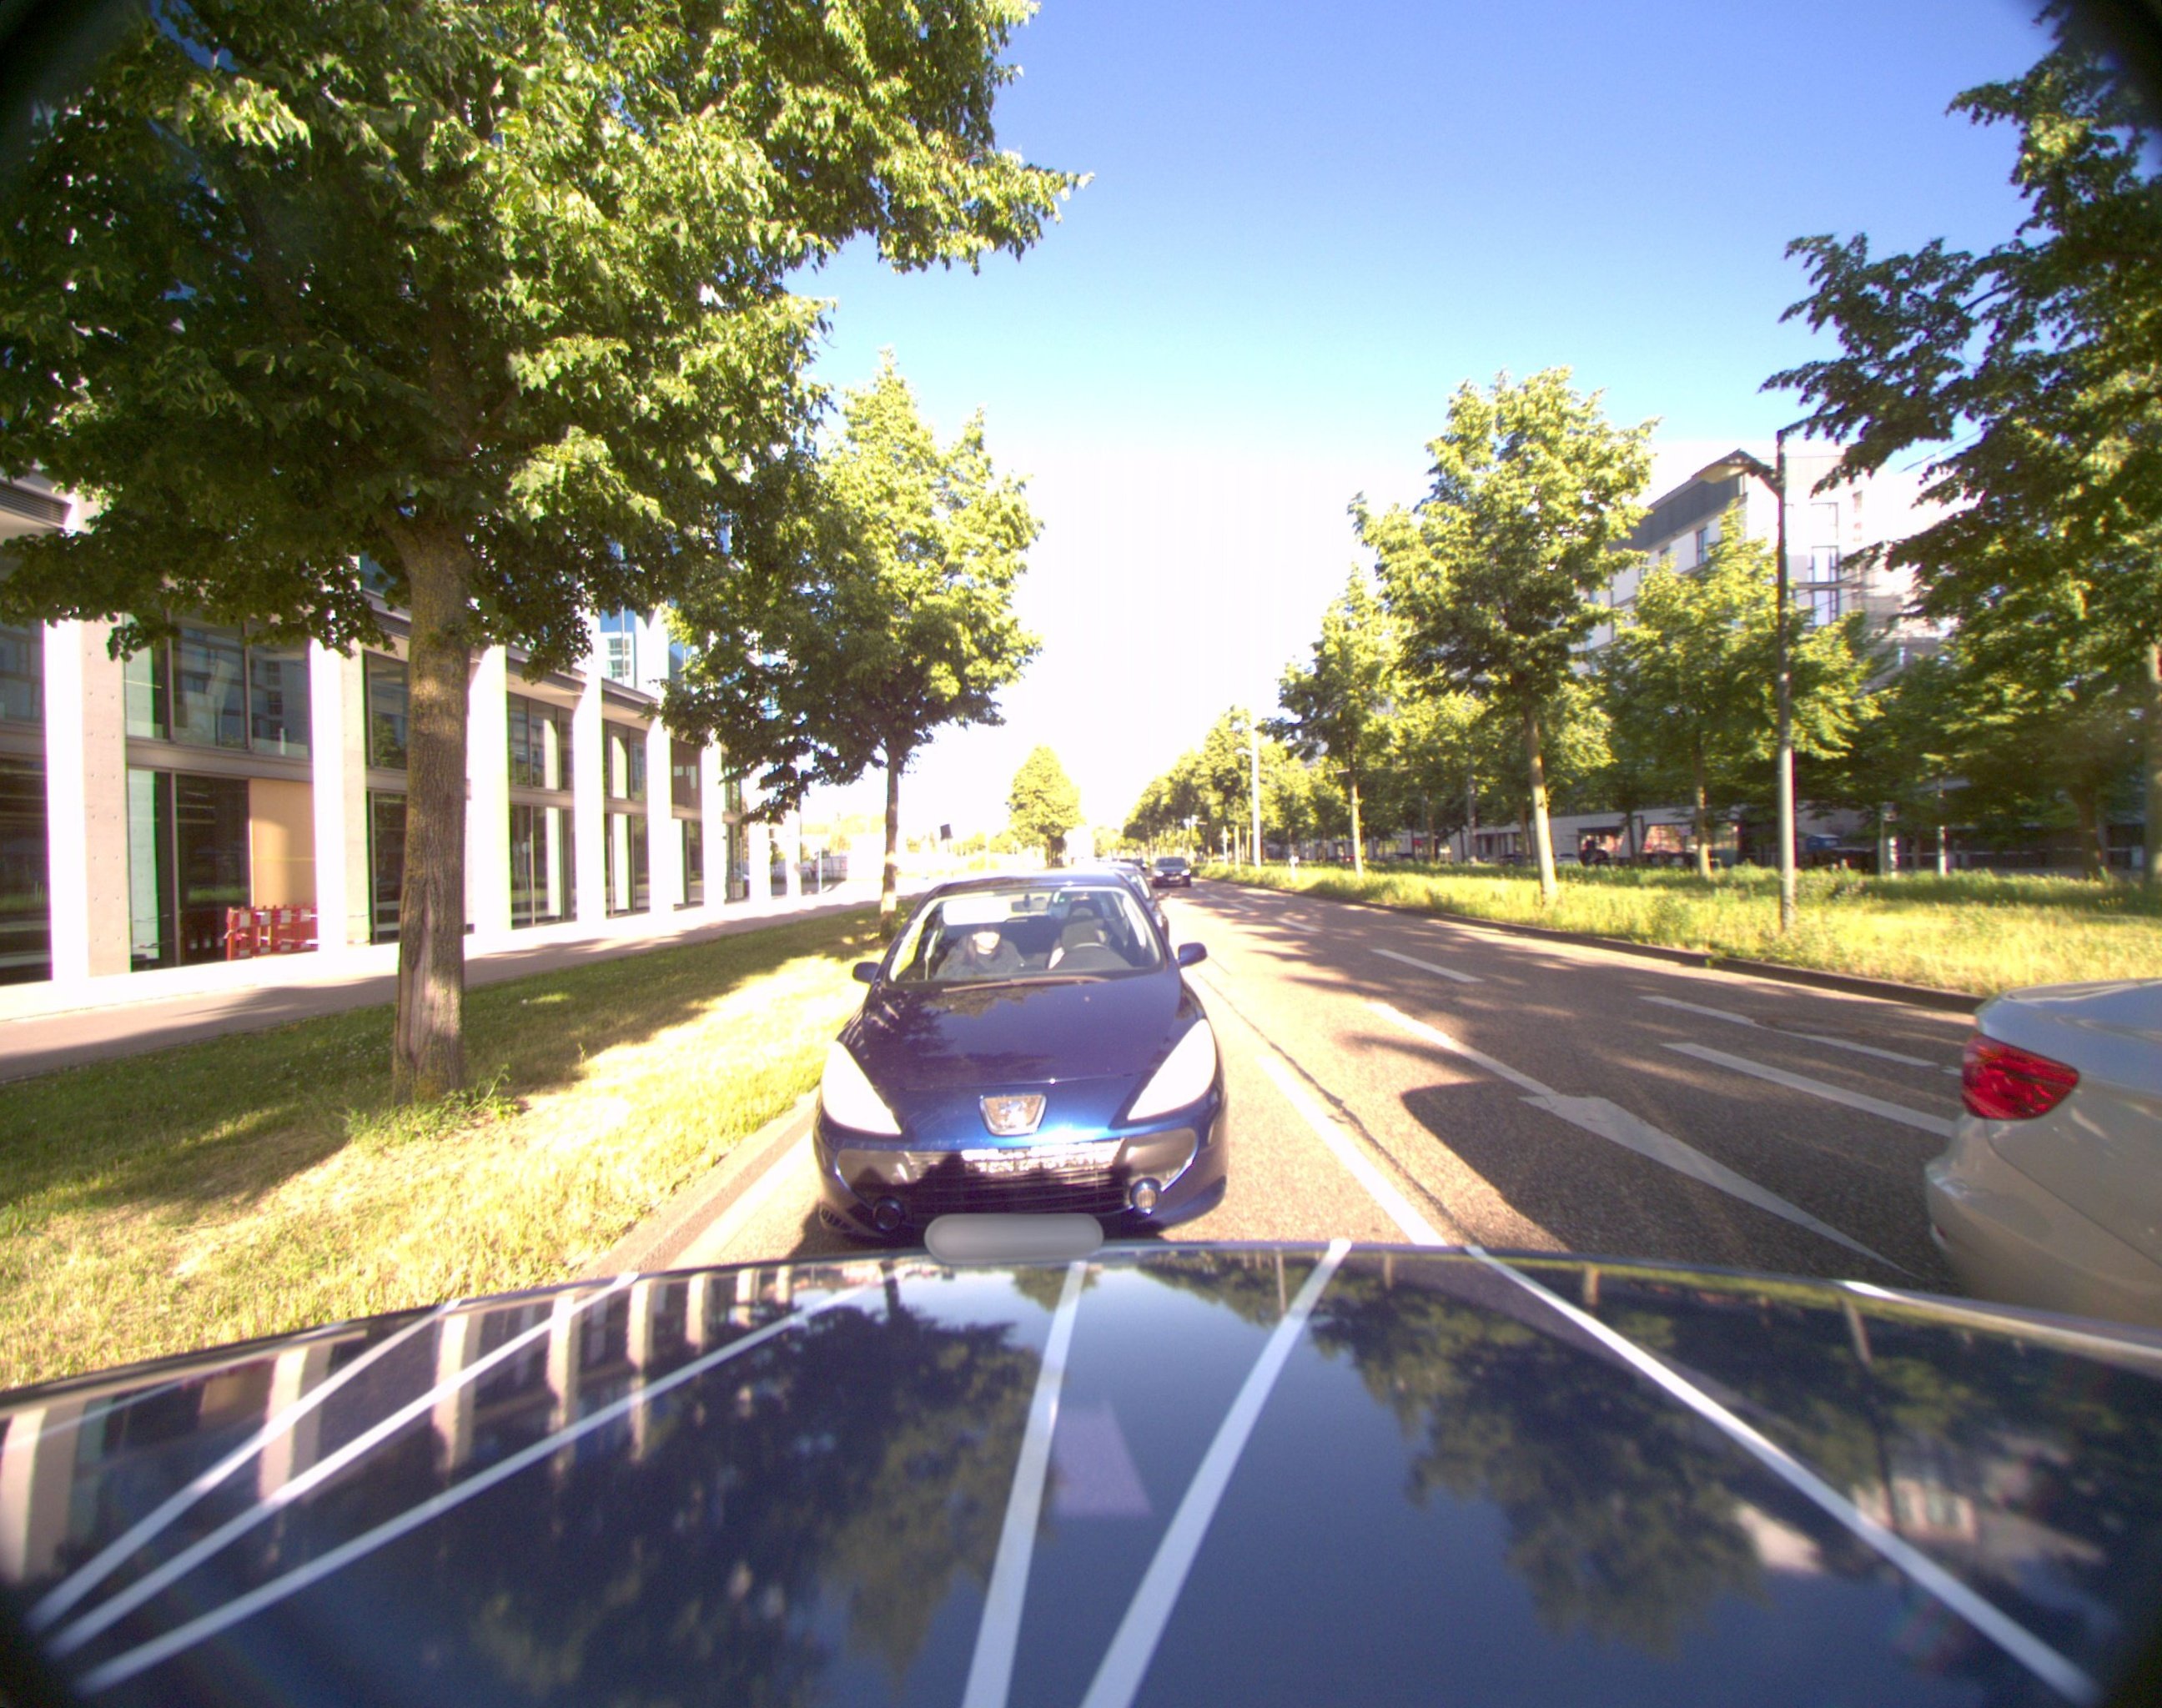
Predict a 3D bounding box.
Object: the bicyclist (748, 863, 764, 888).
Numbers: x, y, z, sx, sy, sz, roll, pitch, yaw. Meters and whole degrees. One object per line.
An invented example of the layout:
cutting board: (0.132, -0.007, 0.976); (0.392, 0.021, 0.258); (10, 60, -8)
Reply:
bicyclist: (-19.724, 1.298, 46.153); (0.699, 1.530, 0.591); (1, 0, -2)

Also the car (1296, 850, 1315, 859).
car: (36.630, 0.034, 124.156); (1.998, 1.387, 4.000); (-1, 0, 1)

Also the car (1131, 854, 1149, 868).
car: (6.613, 0.789, 85.685); (1.878, 1.415, 4.344); (-1, 0, 2)

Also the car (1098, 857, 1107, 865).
car: (4.786, 1.557, 171.276); (1.878, 1.561, 4.344); (-1, 0, 2)

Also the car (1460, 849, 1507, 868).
car: (35.172, 0.376, 66.517); (1.884, 1.588, 4.184); (-1, 0, 1)

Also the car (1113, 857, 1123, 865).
car: (7.186, 1.321, 148.748); (1.878, 1.577, 4.344); (-1, 0, 2)

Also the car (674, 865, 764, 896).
car: (-20.026, 1.443, 42.157); (3.996, 1.569, 2.000); (-1, 0, 3)

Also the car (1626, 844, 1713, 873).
car: (34.544, 0.254, 44.748); (1.951, 1.588, 4.184); (-1, 0, 1)

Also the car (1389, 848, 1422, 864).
car: (35.461, 0.213, 83.107); (1.884, 1.588, 4.184); (-1, 0, 1)

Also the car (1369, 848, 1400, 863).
car: (35.519, 0.157, 89.028); (1.884, 1.588, 4.184); (-1, 0, 1)

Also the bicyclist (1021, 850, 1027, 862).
bicyclist: (-9.951, 0.402, 133.512); (0.931, 2.045, 1.121); (-1, 1, 1)

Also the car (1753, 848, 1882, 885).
car: (34.100, 0.547, 35.355); (1.951, 1.588, 4.184); (-1, 0, 1)

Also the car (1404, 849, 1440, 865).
car: (35.048, 0.282, 78.199); (1.884, 1.588, 4.184); (-1, 0, 1)

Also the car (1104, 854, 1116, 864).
car: (4.253, 0.720, 113.263); (1.724, 1.516, 4.000); (-1, 0, 1)

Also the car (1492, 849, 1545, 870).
car: (35.205, 0.420, 61.234); (1.884, 1.588, 4.184); (-1, 0, 1)

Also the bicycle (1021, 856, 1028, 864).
bicycle: (-9.943, 1.093, 133.500); (0.931, 1.355, 4.000); (-1, 0, 1)

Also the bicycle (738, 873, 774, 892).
bicycle: (-19.732, 1.730, 46.159); (1.926, 1.149, 0.591); (1, 0, -2)

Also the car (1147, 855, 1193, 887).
car: (4.419, 0.816, 38.368); (1.861, 1.482, 4.000); (-1, 0, 1)

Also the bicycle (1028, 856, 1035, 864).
bicycle: (-8.764, 1.016, 133.808); (0.931, 1.355, 4.000); (-1, 0, 1)

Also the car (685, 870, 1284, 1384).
car: (-0.276, 0.915, 4.634); (1.846, 1.473, 4.481); (-2, 0, 1)

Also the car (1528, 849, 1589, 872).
car: (34.918, 0.487, 55.668); (1.884, 1.588, 4.184); (-1, 0, 1)

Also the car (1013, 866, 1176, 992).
car: (0.196, 0.968, 11.735); (1.998, 1.437, 4.622); (-1, 0, 1)

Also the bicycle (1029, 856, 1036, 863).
bicycle: (-8.733, 0.977, 137.963); (0.931, 1.355, 4.000); (-1, 0, 1)

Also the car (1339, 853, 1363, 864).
car: (35.476, 0.599, 99.973); (1.998, 1.387, 4.001); (-1, 0, 4)

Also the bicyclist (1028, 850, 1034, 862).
bicyclist: (-8.783, 0.326, 133.713); (0.931, 2.045, 1.121); (-1, 1, 1)

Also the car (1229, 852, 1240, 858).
car: (36.140, 0.205, 179.235); (1.998, 1.387, 4.001); (-1, 0, 4)
